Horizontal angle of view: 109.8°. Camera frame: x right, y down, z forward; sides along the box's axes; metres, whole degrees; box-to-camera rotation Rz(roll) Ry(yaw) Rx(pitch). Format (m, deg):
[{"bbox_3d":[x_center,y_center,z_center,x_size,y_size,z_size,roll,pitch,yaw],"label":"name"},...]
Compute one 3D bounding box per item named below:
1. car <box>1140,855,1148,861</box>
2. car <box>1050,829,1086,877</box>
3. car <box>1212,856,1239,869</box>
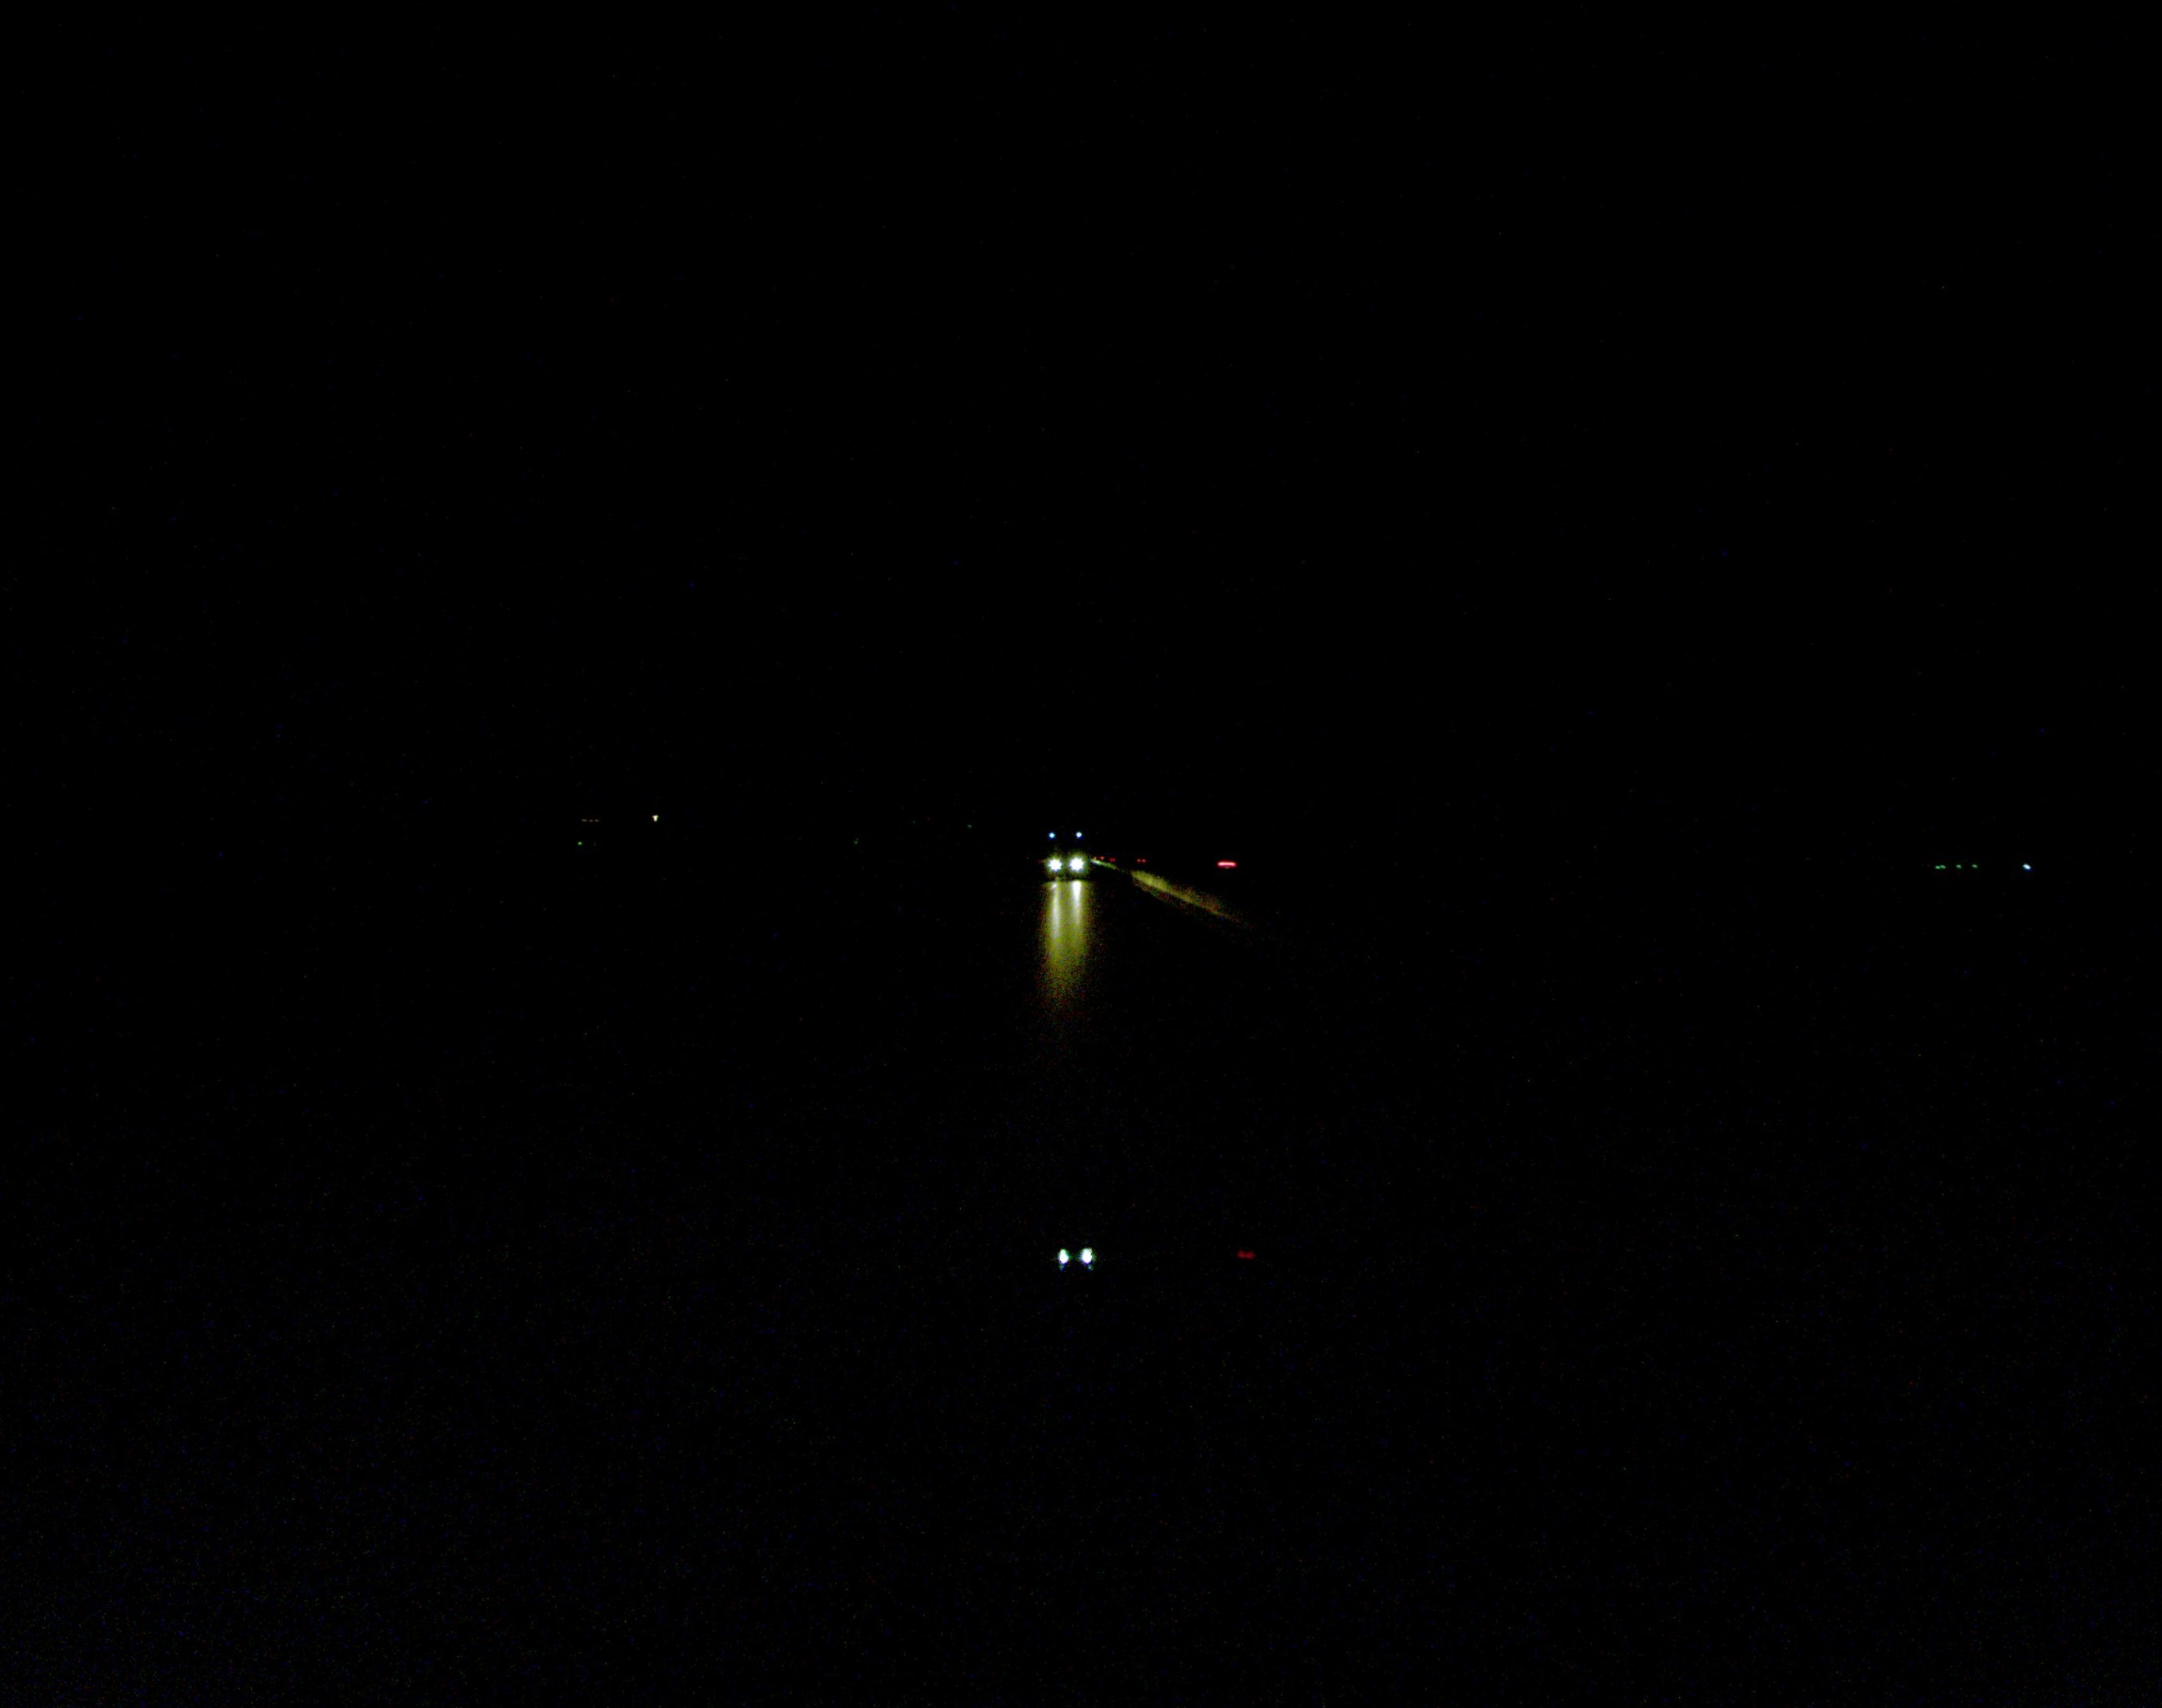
[{"bbox_3d":[18.694,1.179,226.884,2.050,1.710,4.775,2,0,1],"label":"car"},{"bbox_3d":[-0.857,-0.075,54.374,2.255,3.205,6.878,-2,0,1],"label":"car"},{"bbox_3d":[16.645,0.966,87.863,1.999,1.411,4.982,2,0,-1],"label":"car"}]
